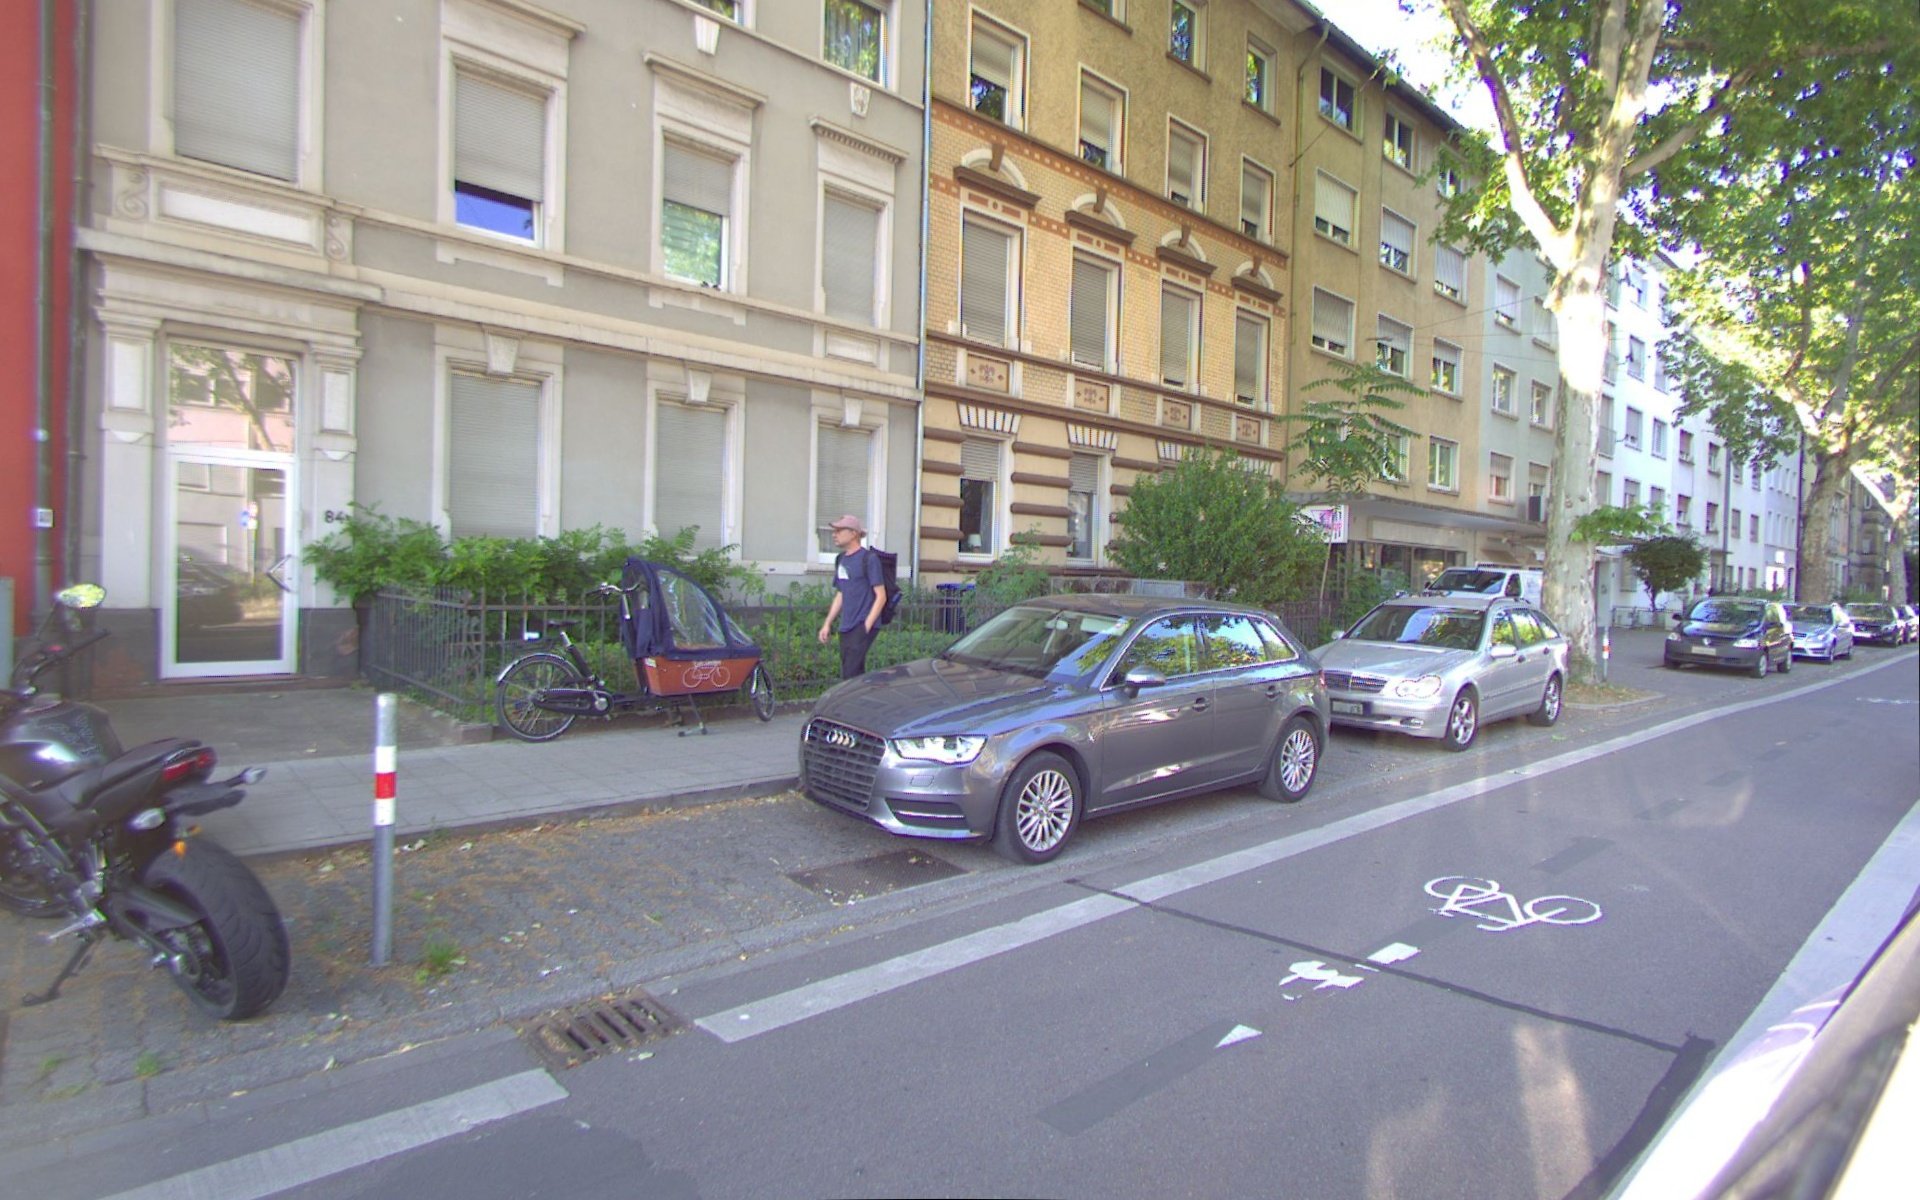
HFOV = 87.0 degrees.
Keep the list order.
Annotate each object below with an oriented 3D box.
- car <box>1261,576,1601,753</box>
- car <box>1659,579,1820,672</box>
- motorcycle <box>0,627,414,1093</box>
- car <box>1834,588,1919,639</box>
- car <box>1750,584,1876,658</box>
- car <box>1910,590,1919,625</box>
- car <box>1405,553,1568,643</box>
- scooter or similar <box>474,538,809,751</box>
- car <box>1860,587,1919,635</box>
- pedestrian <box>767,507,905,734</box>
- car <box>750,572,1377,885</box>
[{"bbox_3d":[5.328,0.544,11.148,4.436,1.472,1.801,0,4,-43],"label":"car"},{"bbox_3d":[16.052,0.448,20.765,4.295,1.628,1.802,0,4,-42],"label":"car"},{"bbox_3d":[-3.021,0.754,3.581,2.188,1.124,0.659,4,2,23],"label":"motorcycle"},{"bbox_3d":[31.500,0.428,34.658,4.295,1.520,1.802,0,4,-42],"label":"car"},{"bbox_3d":[21.817,0.467,25.832,4.295,1.628,1.802,0,4,-42],"label":"car"},{"bbox_3d":[46.714,0.388,48.130,4.034,1.628,1.802,0,4,-42],"label":"car"},{"bbox_3d":[12.796,-0.078,24.493,4.597,1.897,1.932,0,4,-42],"label":"car"},{"bbox_3d":[-2.466,0.294,8.125,2.500,1.488,0.666,0,2,-41],"label":"scooter or similar"},{"bbox_3d":[35.405,0.385,38.048,4.295,1.628,1.802,0,4,-42],"label":"car"},{"bbox_3d":[-1.019,0.129,8.278,0.802,1.731,0.728,-1,4,-41],"label":"pedestrian"},{"bbox_3d":[0.929,0.601,6.970,4.293,1.418,1.802,0,4,-41],"label":"car"}]
